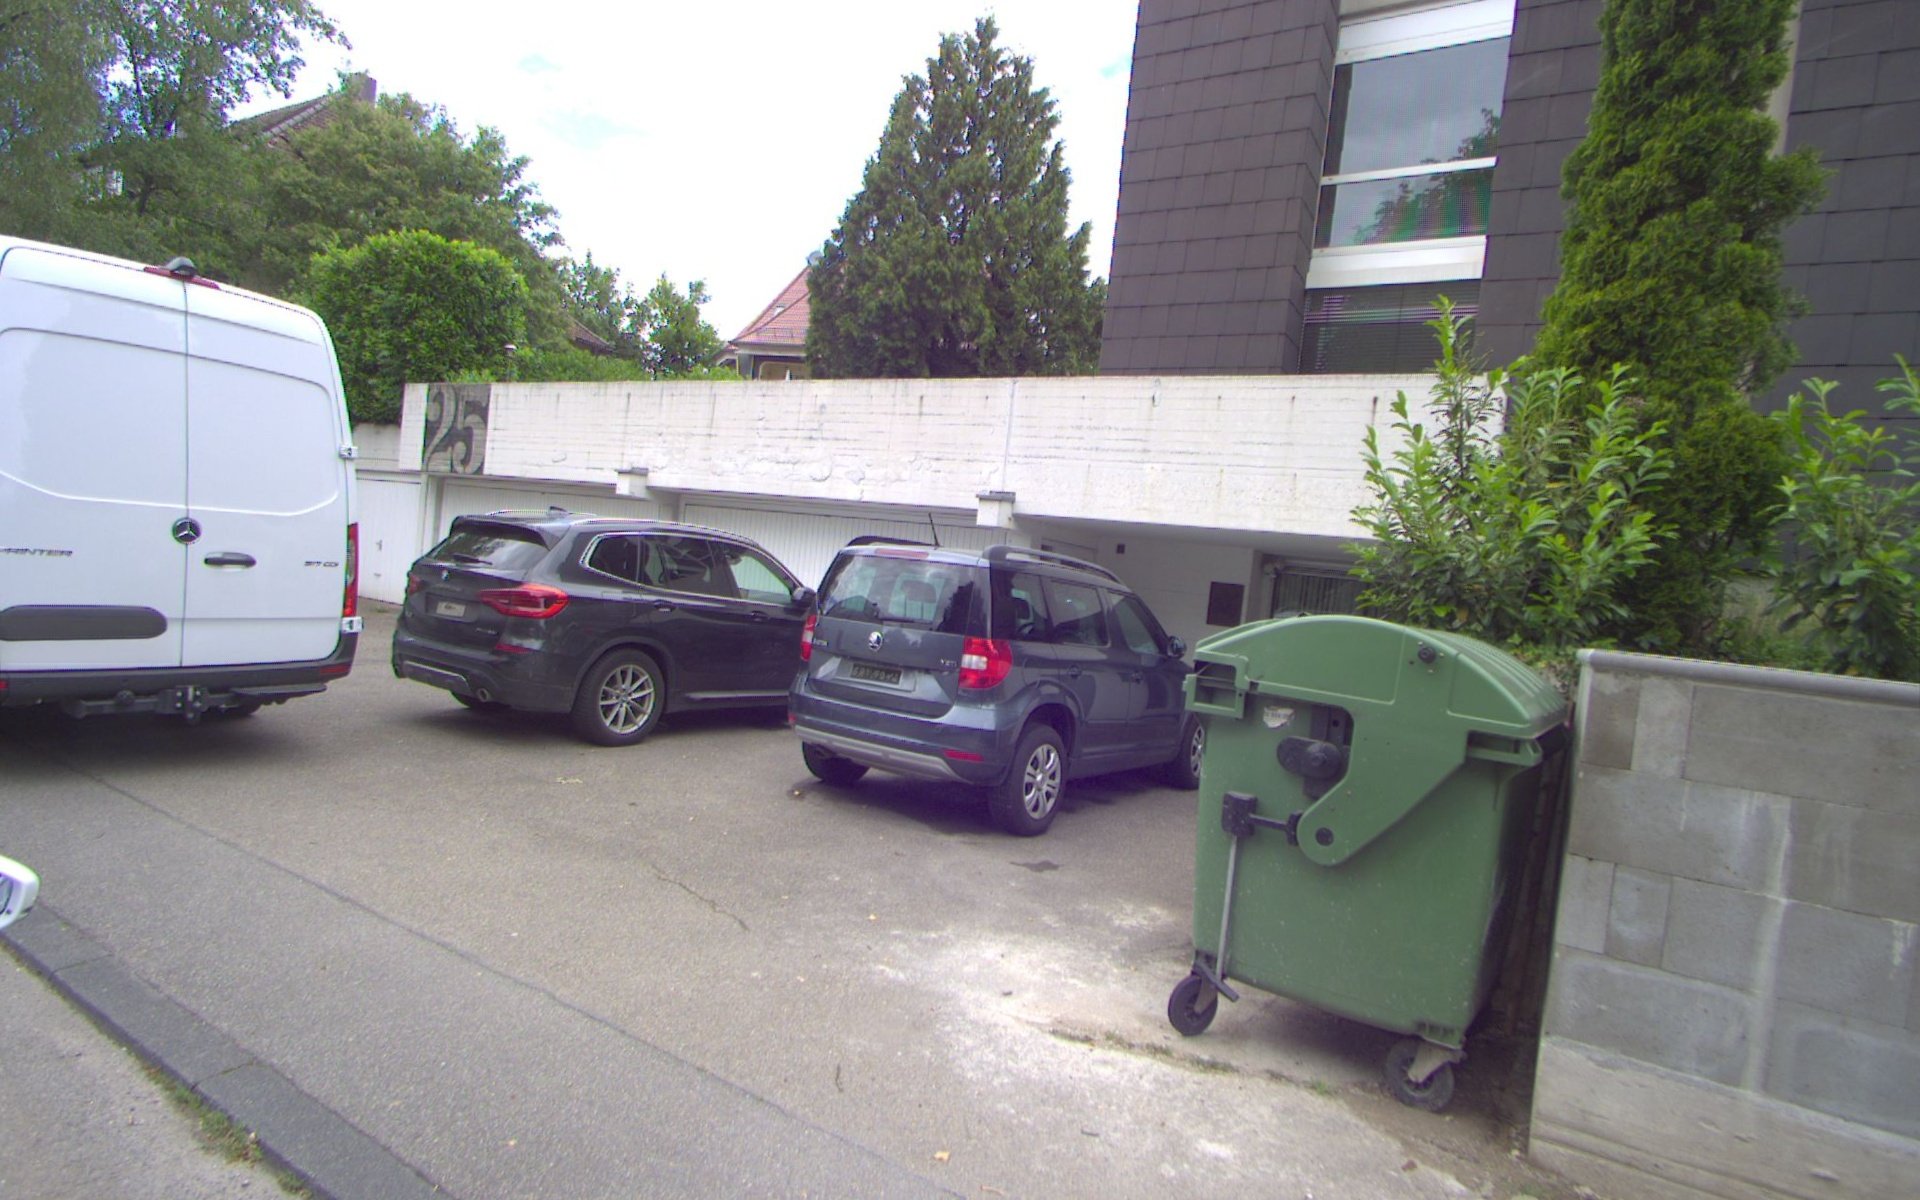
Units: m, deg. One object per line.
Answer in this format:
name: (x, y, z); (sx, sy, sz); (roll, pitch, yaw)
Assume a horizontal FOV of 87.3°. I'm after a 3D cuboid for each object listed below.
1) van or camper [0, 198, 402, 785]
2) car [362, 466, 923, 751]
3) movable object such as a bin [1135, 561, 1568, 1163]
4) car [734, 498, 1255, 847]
van or camper: (-6.708, -0.740, 6.908); (6.432, 2.653, 1.995); (7, 1, 32)
car: (-2.364, 0.119, 8.684); (1.710, 1.772, 4.419); (7, 1, 33)
movable object such as a bin: (1.350, 0.723, 3.397); (1.016, 1.550, 1.034); (7, 1, 33)
car: (0.531, 0.449, 7.403); (1.804, 1.772, 3.973); (7, 1, 35)
